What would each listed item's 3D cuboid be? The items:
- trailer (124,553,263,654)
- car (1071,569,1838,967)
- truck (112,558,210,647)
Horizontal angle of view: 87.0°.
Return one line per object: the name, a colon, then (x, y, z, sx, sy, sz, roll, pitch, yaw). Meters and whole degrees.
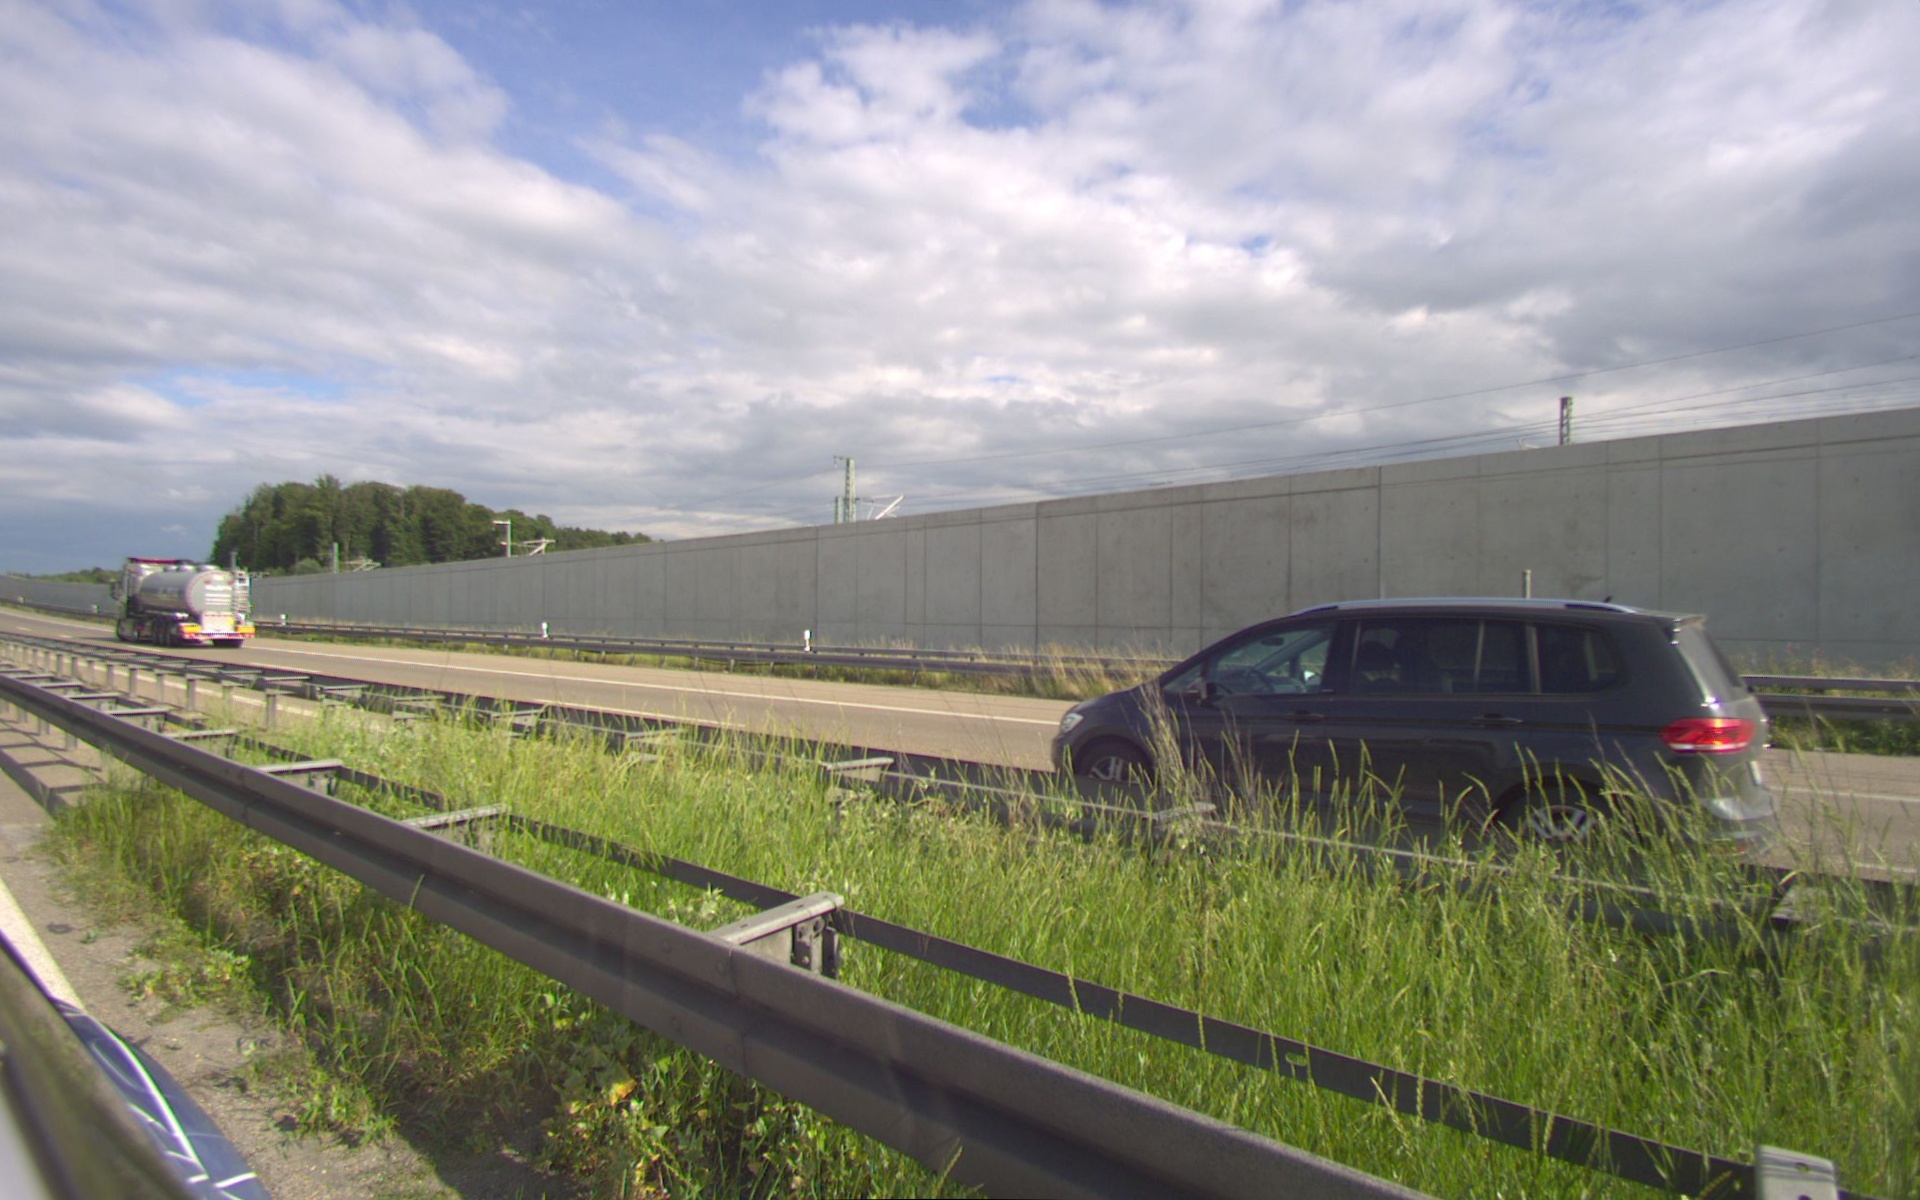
trailer: (-33.471, 0.225, 43.969, 10.859, 3.931, 2.561, -1, -2, 41)
car: (2.901, 0.763, 6.491, 4.101, 1.750, 1.762, -1, -1, 42)
truck: (-37.618, 0.165, 47.588, 5.719, 3.953, 2.555, -1, -2, 41)
